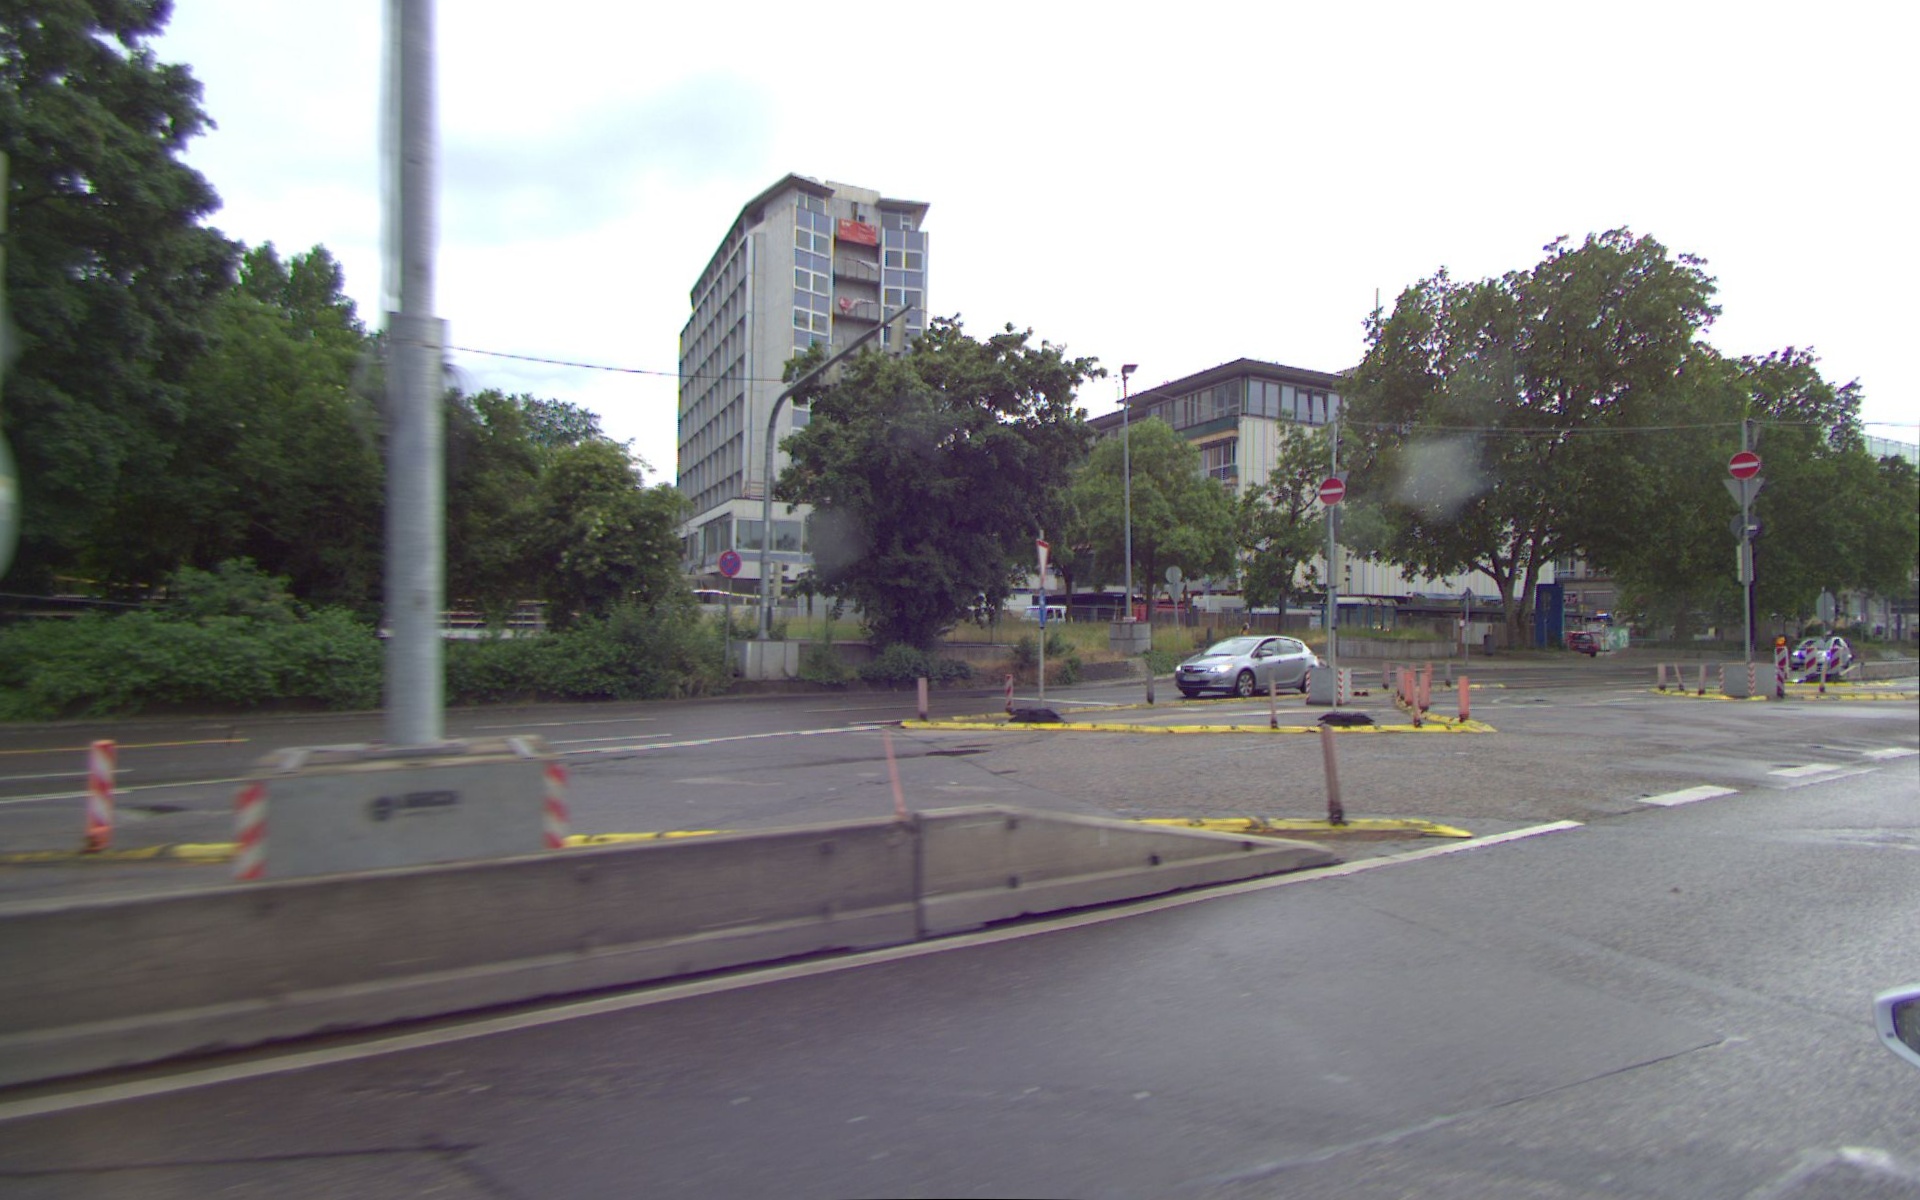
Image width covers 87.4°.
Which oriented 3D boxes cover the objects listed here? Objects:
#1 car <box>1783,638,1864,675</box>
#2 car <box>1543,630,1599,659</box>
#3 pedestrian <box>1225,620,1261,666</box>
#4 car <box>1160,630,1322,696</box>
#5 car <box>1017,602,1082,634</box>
[{"bbox_3d":[40.162,2.672,46.703,4.137,1.547,1.890,5,-5,-35],"label":"car"},{"bbox_3d":[36.680,2.709,60.379,1.870,1.547,4.009,0,-5,17],"label":"car"},{"bbox_3d":[10.055,1.537,35.714,1.095,1.577,0.587,3,-4,-16],"label":"pedestrian"},{"bbox_3d":[6.944,1.538,24.621,4.142,1.482,1.752,2,-5,-39],"label":"car"},{"bbox_3d":[5.142,1.073,57.386,1.878,1.547,3.992,-2,-5,36],"label":"car"}]
